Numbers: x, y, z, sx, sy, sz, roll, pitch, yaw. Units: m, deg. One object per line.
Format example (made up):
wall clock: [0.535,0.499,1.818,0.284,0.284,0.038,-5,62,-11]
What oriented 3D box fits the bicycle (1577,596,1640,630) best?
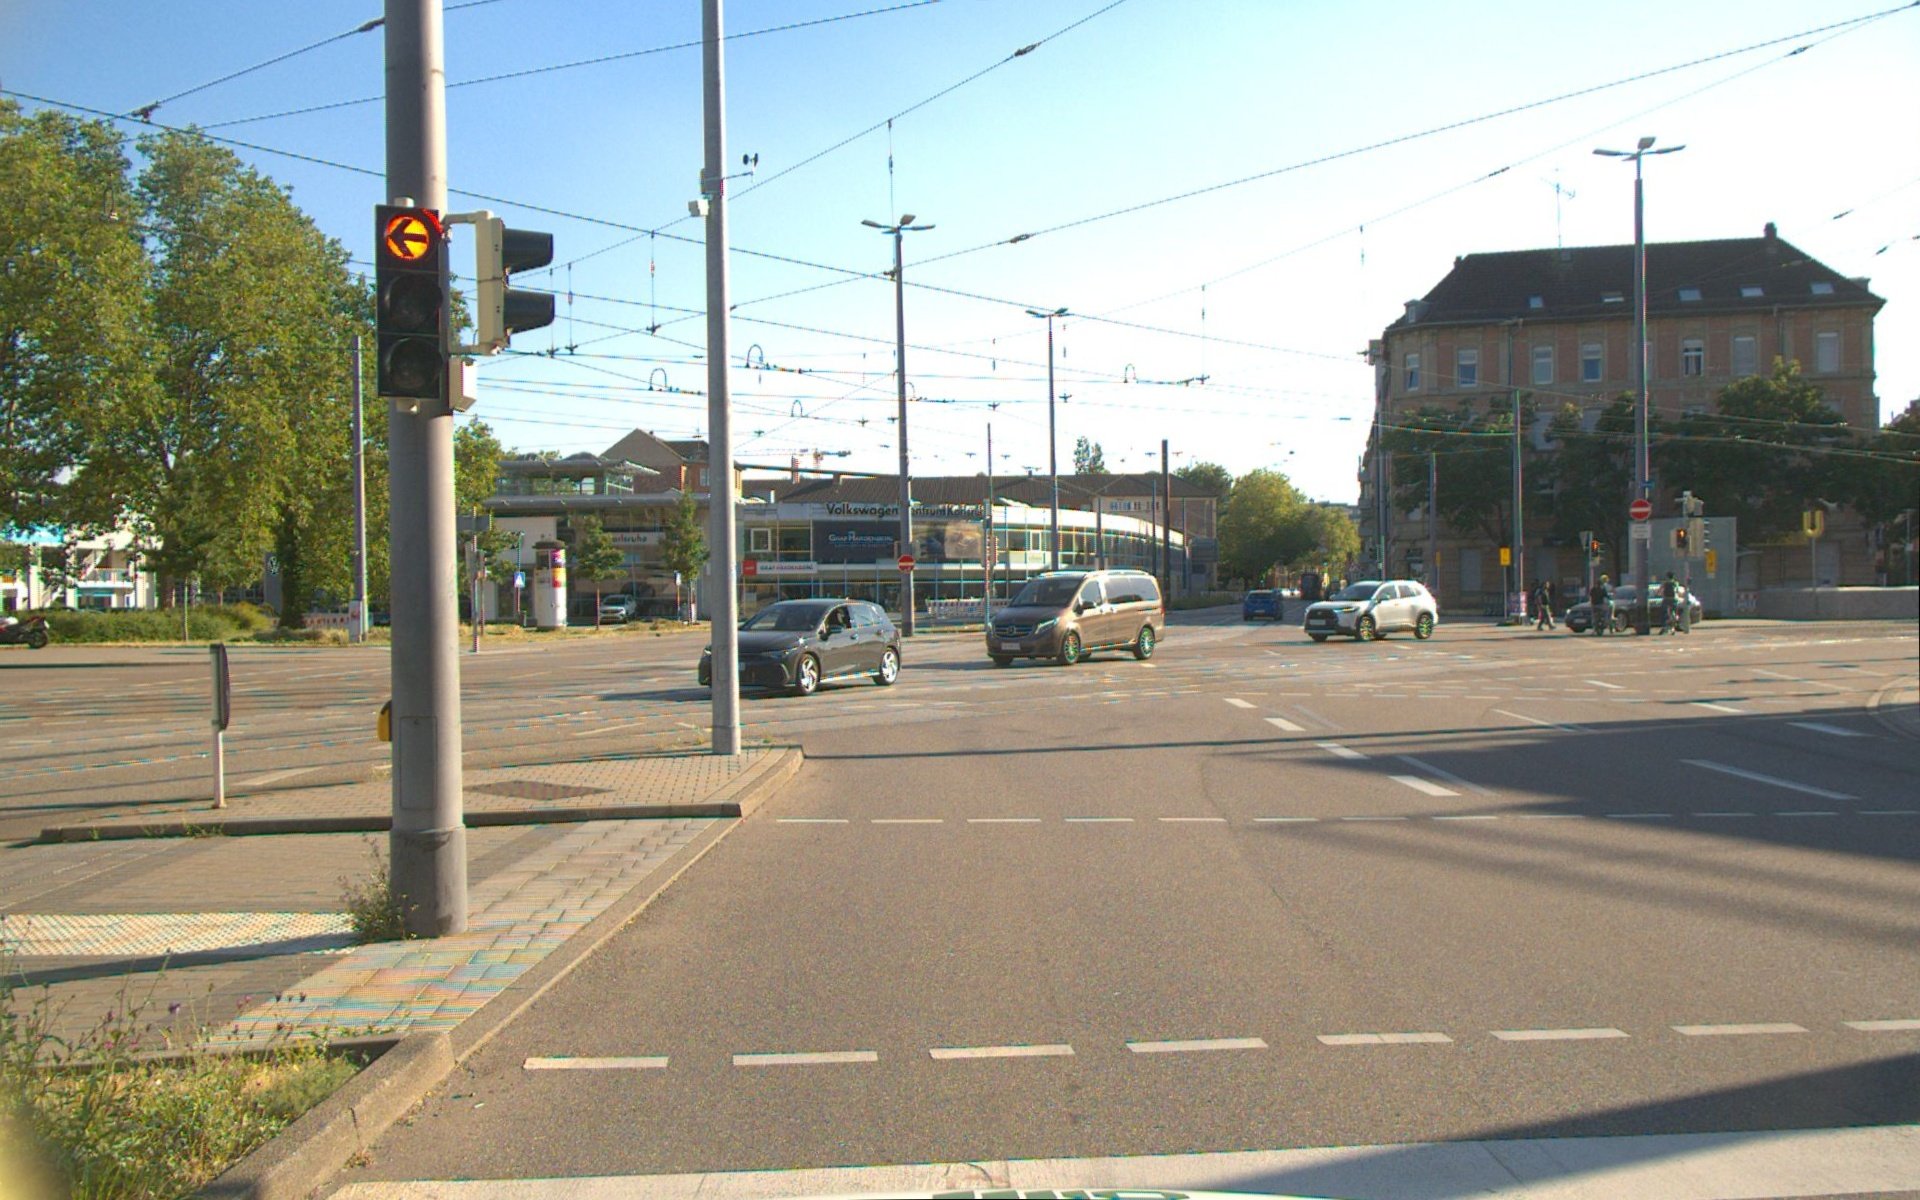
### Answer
bicycle: [19.166,0.361,48.850,2.285,0.921,0.847,-2,2,-43]

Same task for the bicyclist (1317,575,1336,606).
bicyclist: [23.555,-0.638,106.420,1.095,1.933,1.074,1,2,17]

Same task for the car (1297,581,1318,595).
car: [45.429,-1.581,216.332,1.765,1.684,3.917,0,2,-2]

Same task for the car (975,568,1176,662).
car: [2.598,0.286,36.101,1.917,1.926,4.825,-1,0,40]

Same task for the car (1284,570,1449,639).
car: [11.432,0.105,46.357,4.800,1.830,1.928,-1,0,-38]

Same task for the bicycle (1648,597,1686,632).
bicycle: [20.950,0.423,49.039,0.839,0.921,2.305,1,2,19]

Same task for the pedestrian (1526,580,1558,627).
pedestrian: [21.411,0.122,60.858,0.905,1.705,0.782,-1,0,-1]

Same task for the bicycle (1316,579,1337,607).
bicycle: [23.605,-0.466,106.459,1.111,1.719,4.003,1,2,16]

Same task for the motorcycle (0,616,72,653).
motorcycle: [-28.229,1.048,50.079,2.246,1.072,0.685,0,2,-14]

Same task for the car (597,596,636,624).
car: [-20.823,0.588,100.427,1.955,1.561,3.995,0,2,-6]

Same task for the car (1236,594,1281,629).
car: [14.668,0.534,81.512,1.906,1.622,4.620,-1,0,7]

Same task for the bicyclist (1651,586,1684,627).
bicyclist: [20.906,0.185,48.889,0.839,1.197,0.715,1,2,19]

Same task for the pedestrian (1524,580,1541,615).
pedestrian: [22.508,-0.085,65.017,0.414,1.363,0.600,-1,0,-1]

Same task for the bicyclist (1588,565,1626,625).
bicyclist: [19.072,-0.161,48.771,0.646,1.720,0.847,-1,2,-42]

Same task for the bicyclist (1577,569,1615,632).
bicyclist: [18.587,0.016,48.338,0.579,1.809,0.854,-1,0,-42]

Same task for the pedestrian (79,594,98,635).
pedestrian: [-44.265,0.724,84.007,0.576,2.049,0.710,-1,0,-1]

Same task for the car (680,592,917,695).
car: [-2.531,0.647,26.935,1.910,1.512,4.097,-1,0,27]

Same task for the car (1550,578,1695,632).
car: [21.202,0.133,52.912,4.288,1.590,1.937,-1,2,-25]

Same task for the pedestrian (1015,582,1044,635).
pedestrian: [2.464,0.302,58.955,0.969,1.848,0.920,0,2,-3]
